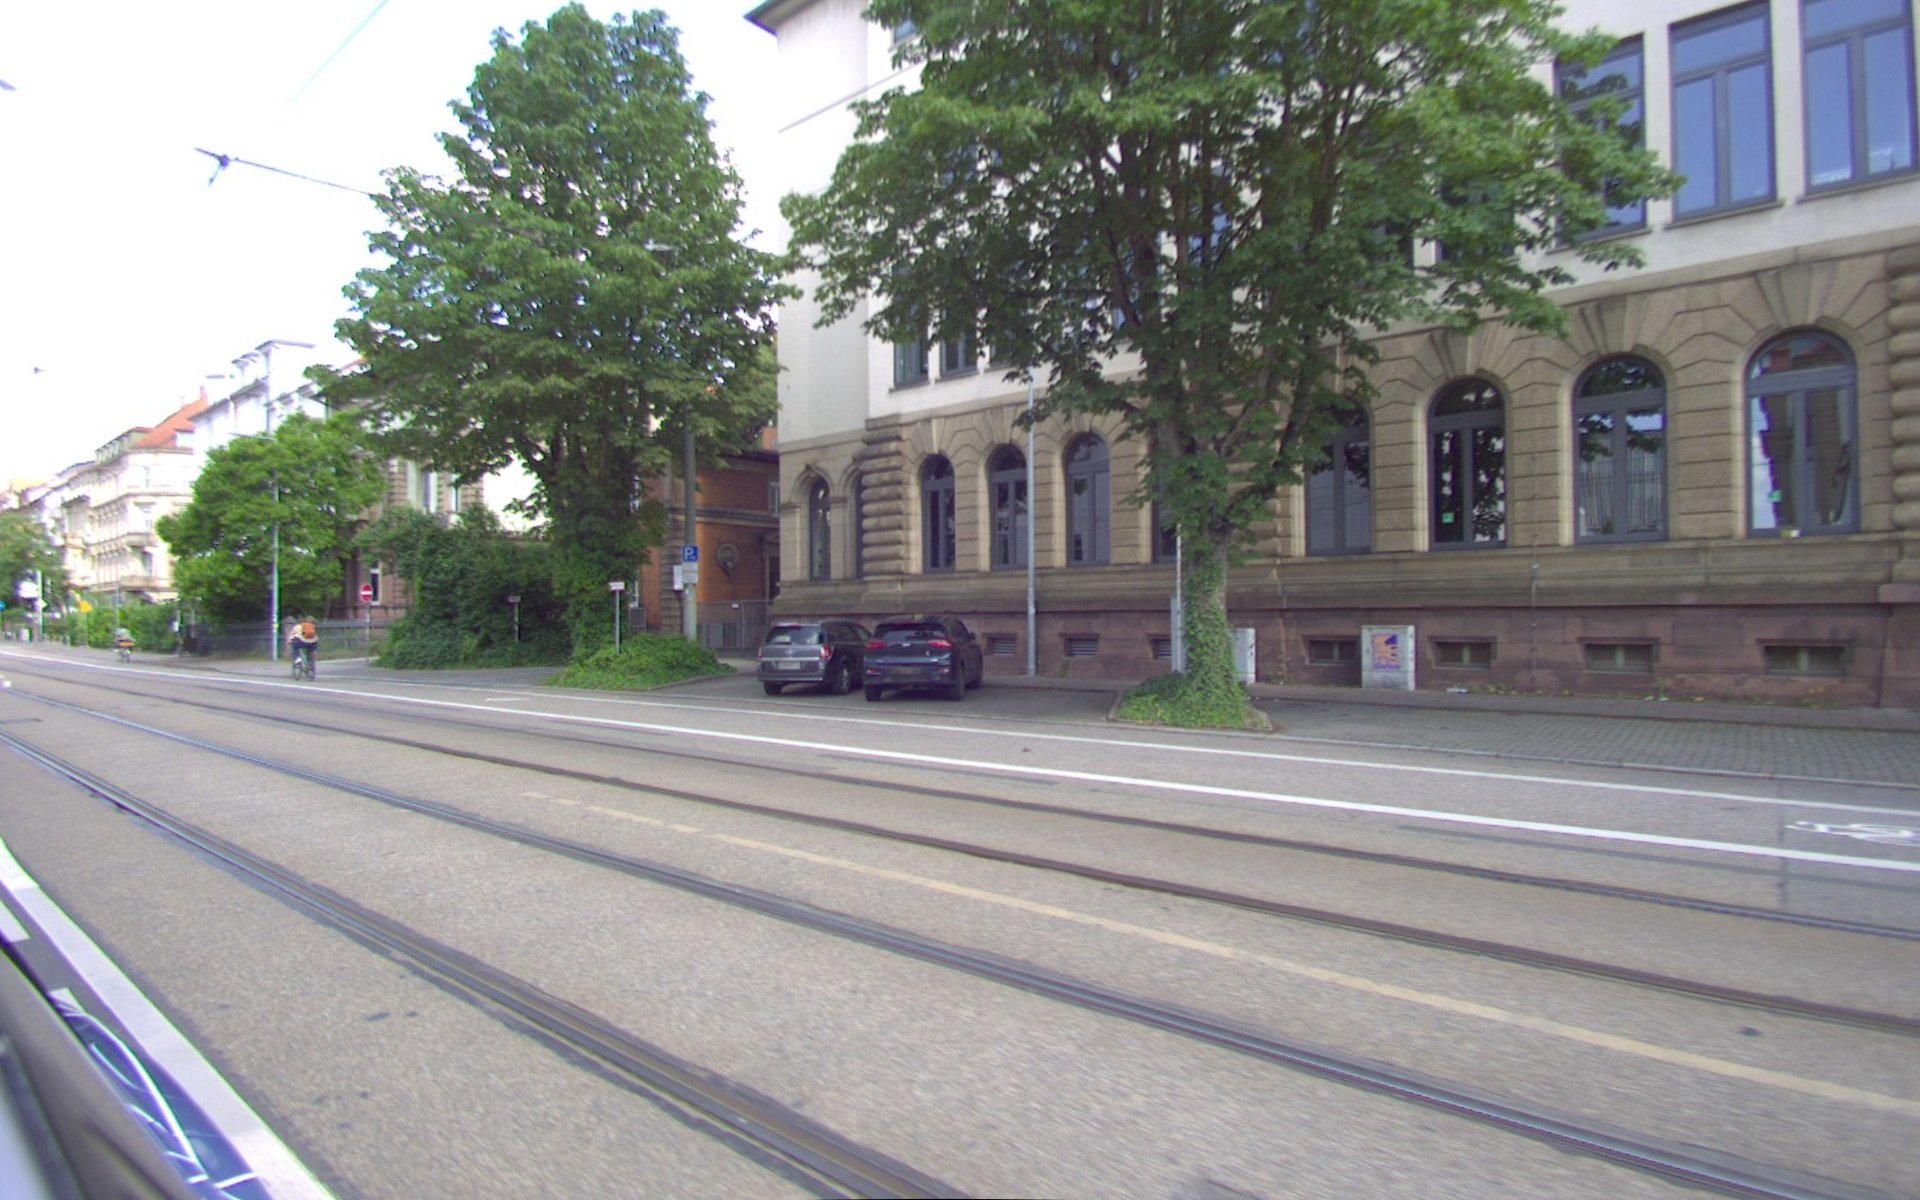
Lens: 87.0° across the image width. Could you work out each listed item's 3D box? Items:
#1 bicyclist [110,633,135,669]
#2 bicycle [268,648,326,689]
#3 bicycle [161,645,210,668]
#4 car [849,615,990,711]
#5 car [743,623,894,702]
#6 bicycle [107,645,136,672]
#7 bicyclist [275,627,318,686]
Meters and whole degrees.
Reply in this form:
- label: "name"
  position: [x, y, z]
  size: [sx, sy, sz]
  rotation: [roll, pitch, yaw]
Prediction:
- label: "bicyclist"
  position: [-36.142, 2.208, 43.676]
  size: [0.882, 1.504, 0.593]
  rotation: [-3, -8, 43]
- label: "bicycle"
  position: [-17.597, 1.801, 26.857]
  size: [1.816, 1.025, 0.692]
  rotation: [-2, -3, 37]
- label: "bicycle"
  position: [-35.213, 2.543, 45.981]
  size: [2.986, 0.915, 1.131]
  rotation: [-2, 1, 40]
- label: "car"
  position: [-0.643, 1.120, 19.470]
  size: [1.905, 1.562, 4.230]
  rotation: [-2, -1, 9]
- label: "car"
  position: [-2.814, 1.236, 21.127]
  size: [1.776, 1.458, 4.224]
  rotation: [-1, -2, 13]
- label: "bicycle"
  position: [-36.205, 2.534, 43.686]
  size: [2.022, 1.105, 0.596]
  rotation: [-3, -8, 43]
- label: "bicyclist"
  position: [-17.621, 1.484, 26.879]
  size: [0.866, 1.531, 0.684]
  rotation: [-2, -3, 37]
